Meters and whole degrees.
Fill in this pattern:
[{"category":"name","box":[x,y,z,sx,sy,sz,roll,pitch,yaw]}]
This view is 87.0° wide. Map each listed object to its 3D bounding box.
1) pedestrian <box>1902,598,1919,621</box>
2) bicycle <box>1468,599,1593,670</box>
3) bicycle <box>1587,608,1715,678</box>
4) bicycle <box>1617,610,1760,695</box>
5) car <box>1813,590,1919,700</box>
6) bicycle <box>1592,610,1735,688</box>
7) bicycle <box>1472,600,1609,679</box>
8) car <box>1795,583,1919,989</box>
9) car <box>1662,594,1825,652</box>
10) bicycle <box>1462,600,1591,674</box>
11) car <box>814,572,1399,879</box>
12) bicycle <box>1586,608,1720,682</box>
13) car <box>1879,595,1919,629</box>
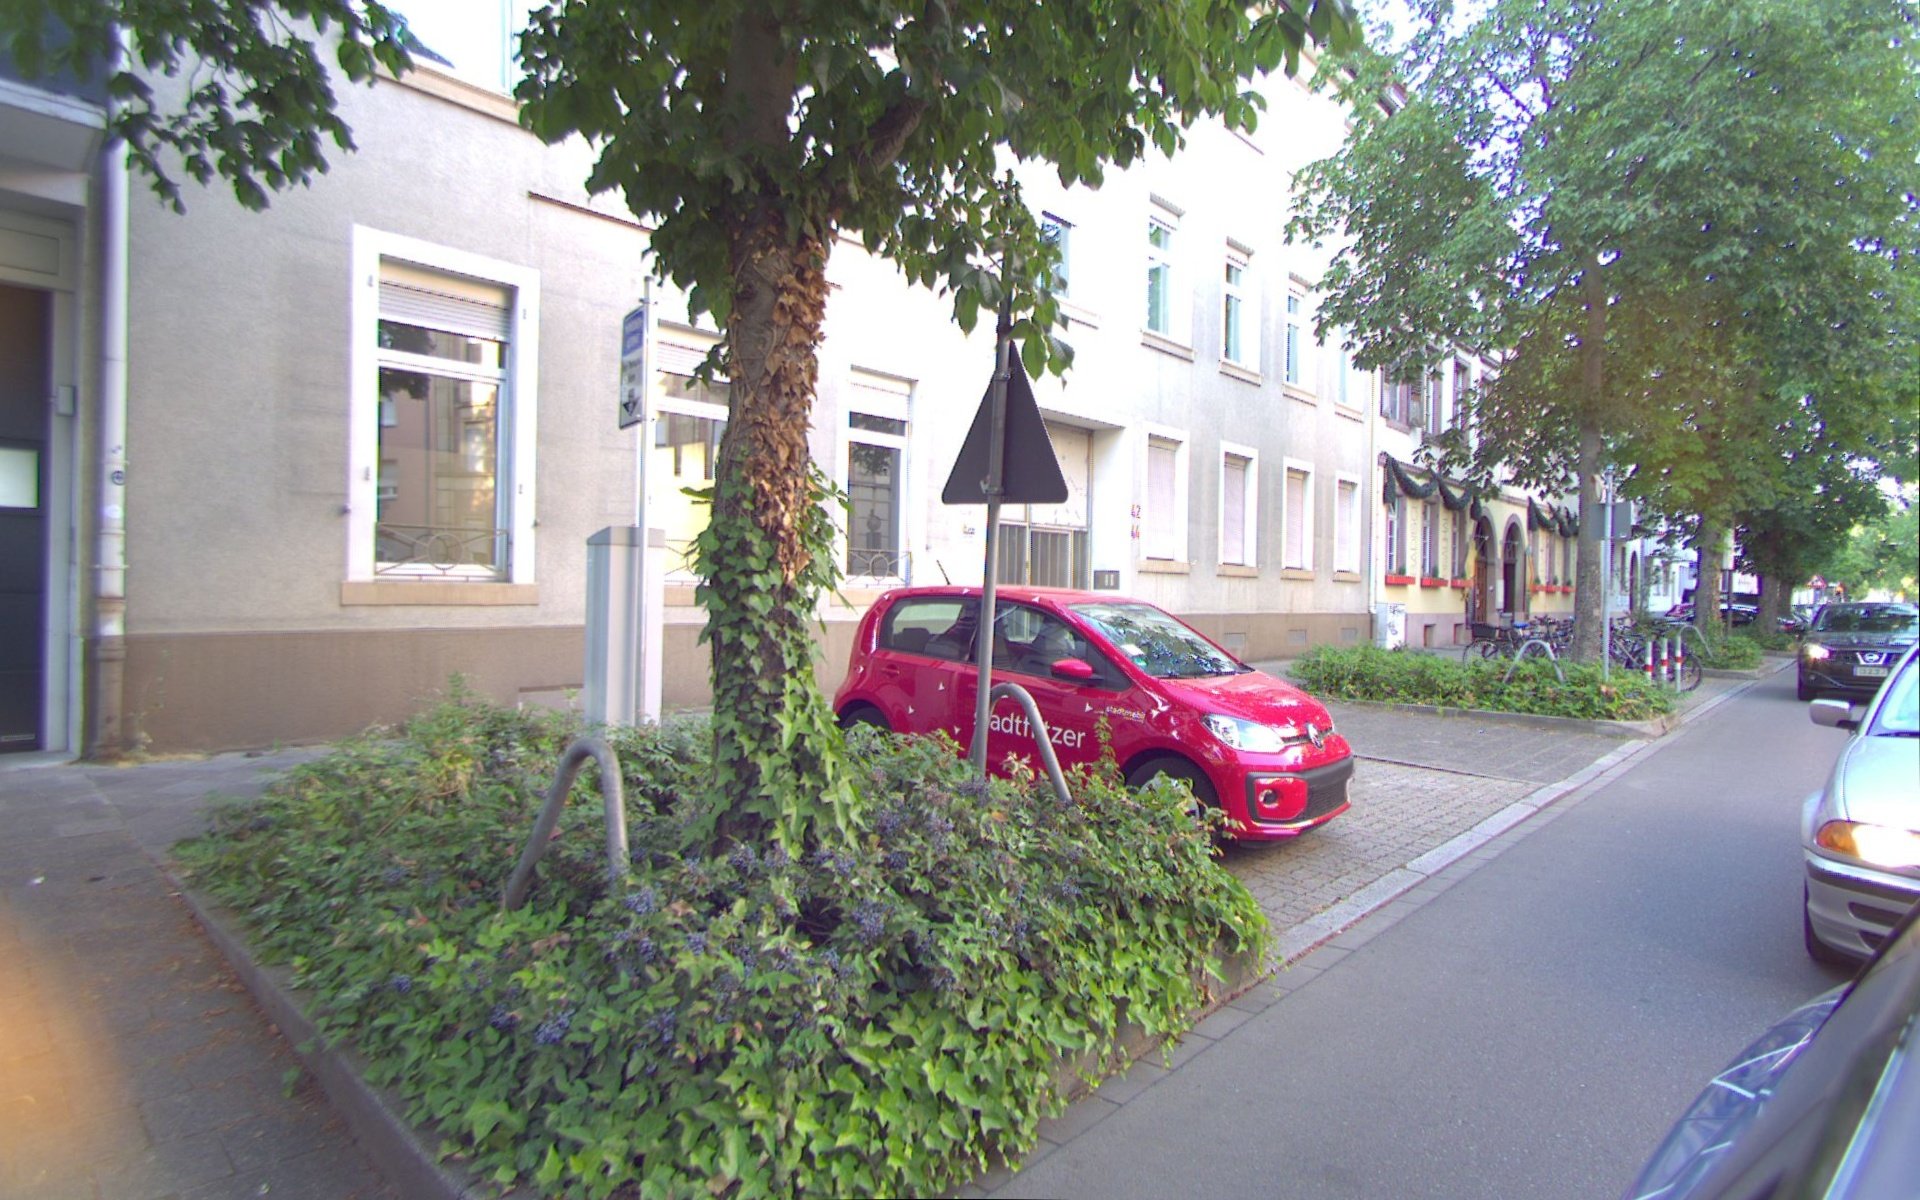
[{"category":"pedestrian","box":[88.133,0.868,93.798,1.179,2.039,1.007,1,0,40]},{"category":"bicycle","box":[10.928,0.634,19.425,2.017,1.242,0.529,2,1,37]},{"category":"bicycle","box":[13.467,0.806,19.765,2.019,1.242,0.528,2,1,39]},{"category":"bicycle","box":[11.849,0.828,16.532,1.835,1.242,0.529,2,1,33]},{"category":"car","box":[15.044,0.655,16.199,1.802,1.571,3.935,2,1,45]},{"category":"bicycle","box":[12.351,0.829,17.818,2.019,1.242,0.528,2,1,39]},{"category":"bicycle","box":[10.081,0.655,17.621,2.014,1.242,0.529,2,1,33]},{"category":"car","box":[5.431,0.682,4.685,4.358,1.460,1.710,0,1,-41]},{"category":"car","box":[26.611,0.732,34.450,4.232,1.761,1.715,2,1,43]},{"category":"bicycle","box":[10.296,0.646,18.431,2.014,1.242,0.529,2,1,33]},{"category":"car","box":[0.808,0.581,6.817,3.609,1.495,1.639,2,1,42]},{"category":"bicycle","box":[12.987,0.815,19.012,2.019,1.242,0.528,2,1,39]},{"category":"car","box":[46.244,0.557,49.486,1.802,1.571,3.936,2,1,44]}]
